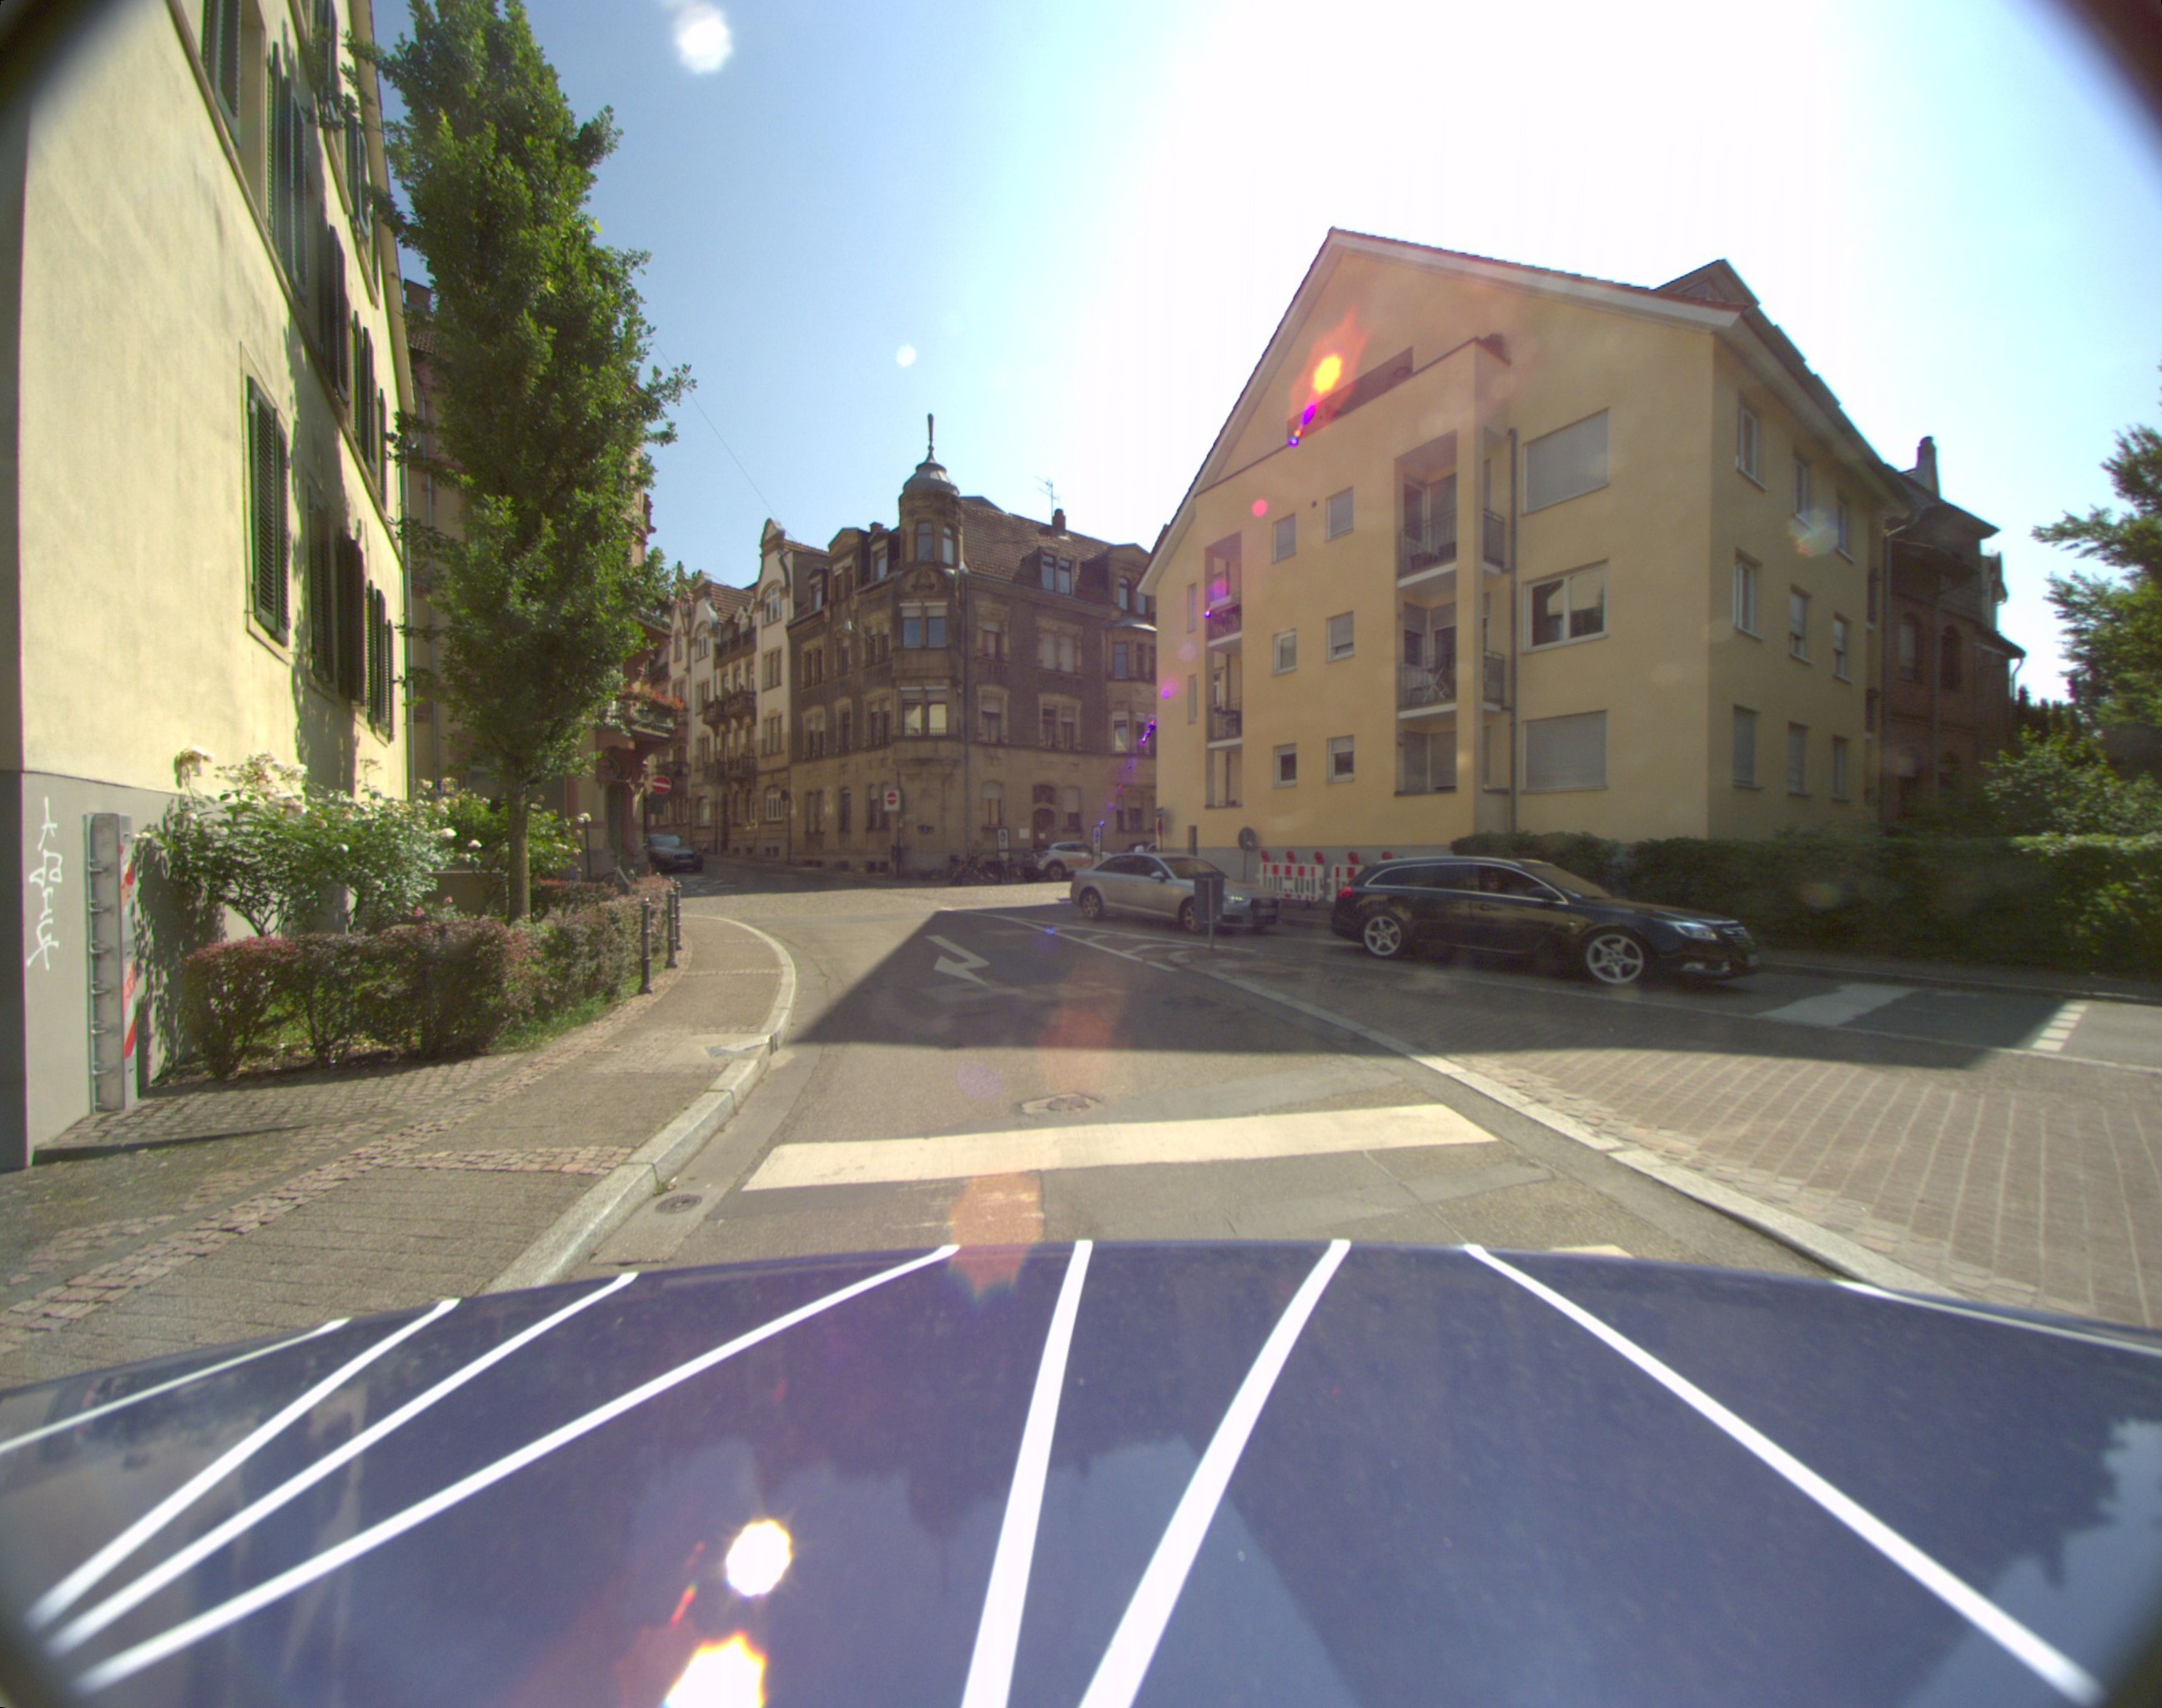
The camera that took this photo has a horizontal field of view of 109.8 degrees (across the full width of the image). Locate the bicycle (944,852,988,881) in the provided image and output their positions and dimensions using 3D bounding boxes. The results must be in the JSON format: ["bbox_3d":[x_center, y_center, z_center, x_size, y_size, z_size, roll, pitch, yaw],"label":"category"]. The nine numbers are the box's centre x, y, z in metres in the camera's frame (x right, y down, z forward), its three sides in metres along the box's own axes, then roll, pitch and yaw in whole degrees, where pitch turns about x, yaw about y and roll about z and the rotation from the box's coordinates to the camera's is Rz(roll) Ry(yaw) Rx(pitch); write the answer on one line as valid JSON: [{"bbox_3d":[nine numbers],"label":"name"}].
[{"bbox_3d":[-4.515,0.493,29.884,1.645,1.080,0.494,0,5,-36],"label":"bicycle"}]

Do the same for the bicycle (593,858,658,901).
[{"bbox_3d":[-12.750,0.709,21.270,1.789,1.140,0.506,1,1,18],"label":"bicycle"}]

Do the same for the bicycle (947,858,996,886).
[{"bbox_3d":[-4.032,0.655,27.865,1.637,1.084,0.285,2,46,43],"label":"bicycle"}]

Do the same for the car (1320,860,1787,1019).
[{"bbox_3d":[5.617,0.853,9.680,1.723,1.453,4.711,2,0,-38],"label":"car"}]

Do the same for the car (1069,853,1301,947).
[{"bbox_3d":[1.842,0.752,14.739,1.881,1.484,4.370,-1,1,-38],"label":"car"}]

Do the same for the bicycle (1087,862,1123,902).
[{"bbox_3d":[0.692,0.798,22.473,0.392,1.073,1.906,0,1,-19],"label":"bicycle"}]

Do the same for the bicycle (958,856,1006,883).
[{"bbox_3d":[-3.681,0.580,28.217,1.637,1.084,0.285,2,46,43],"label":"bicycle"}]

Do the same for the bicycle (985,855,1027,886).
[{"bbox_3d":[-2.772,0.616,28.023,1.638,1.079,0.286,-2,-2,26],"label":"bicycle"}]

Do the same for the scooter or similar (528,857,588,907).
[{"bbox_3d":[-13.552,0.712,19.698,0.441,1.228,1.193,1,2,40],"label":"scooter or similar"}]

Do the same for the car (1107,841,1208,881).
[{"bbox_3d":[3.299,0.275,32.504,4.007,1.535,1.848,-2,1,-35],"label":"car"}]

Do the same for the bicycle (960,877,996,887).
[{"bbox_3d":[-3.750,1.026,27.595,1.080,0.286,1.121,0,1,-22],"label":"bicycle"}]

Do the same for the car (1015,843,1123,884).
[{"bbox_3d":[-0.441,0.325,29.917,3.936,1.535,1.847,-1,1,-37],"label":"car"}]

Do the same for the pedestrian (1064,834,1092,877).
[{"bbox_3d":[-0.121,0.045,32.407,0.982,1.749,0.621,-2,6,-37],"label":"pedestrian"}]

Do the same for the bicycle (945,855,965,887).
[{"bbox_3d":[-4.564,0.610,27.496,0.286,1.080,1.639,-4,2,-22],"label":"bicycle"}]

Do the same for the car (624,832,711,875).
[{"bbox_3d":[-17.161,-0.075,31.447,4.246,1.574,1.866,3,5,43],"label":"car"}]

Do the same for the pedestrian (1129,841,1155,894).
[{"bbox_3d":[1.881,0.404,23.471,0.658,1.609,0.492,-1,2,-23],"label":"pedestrian"}]
